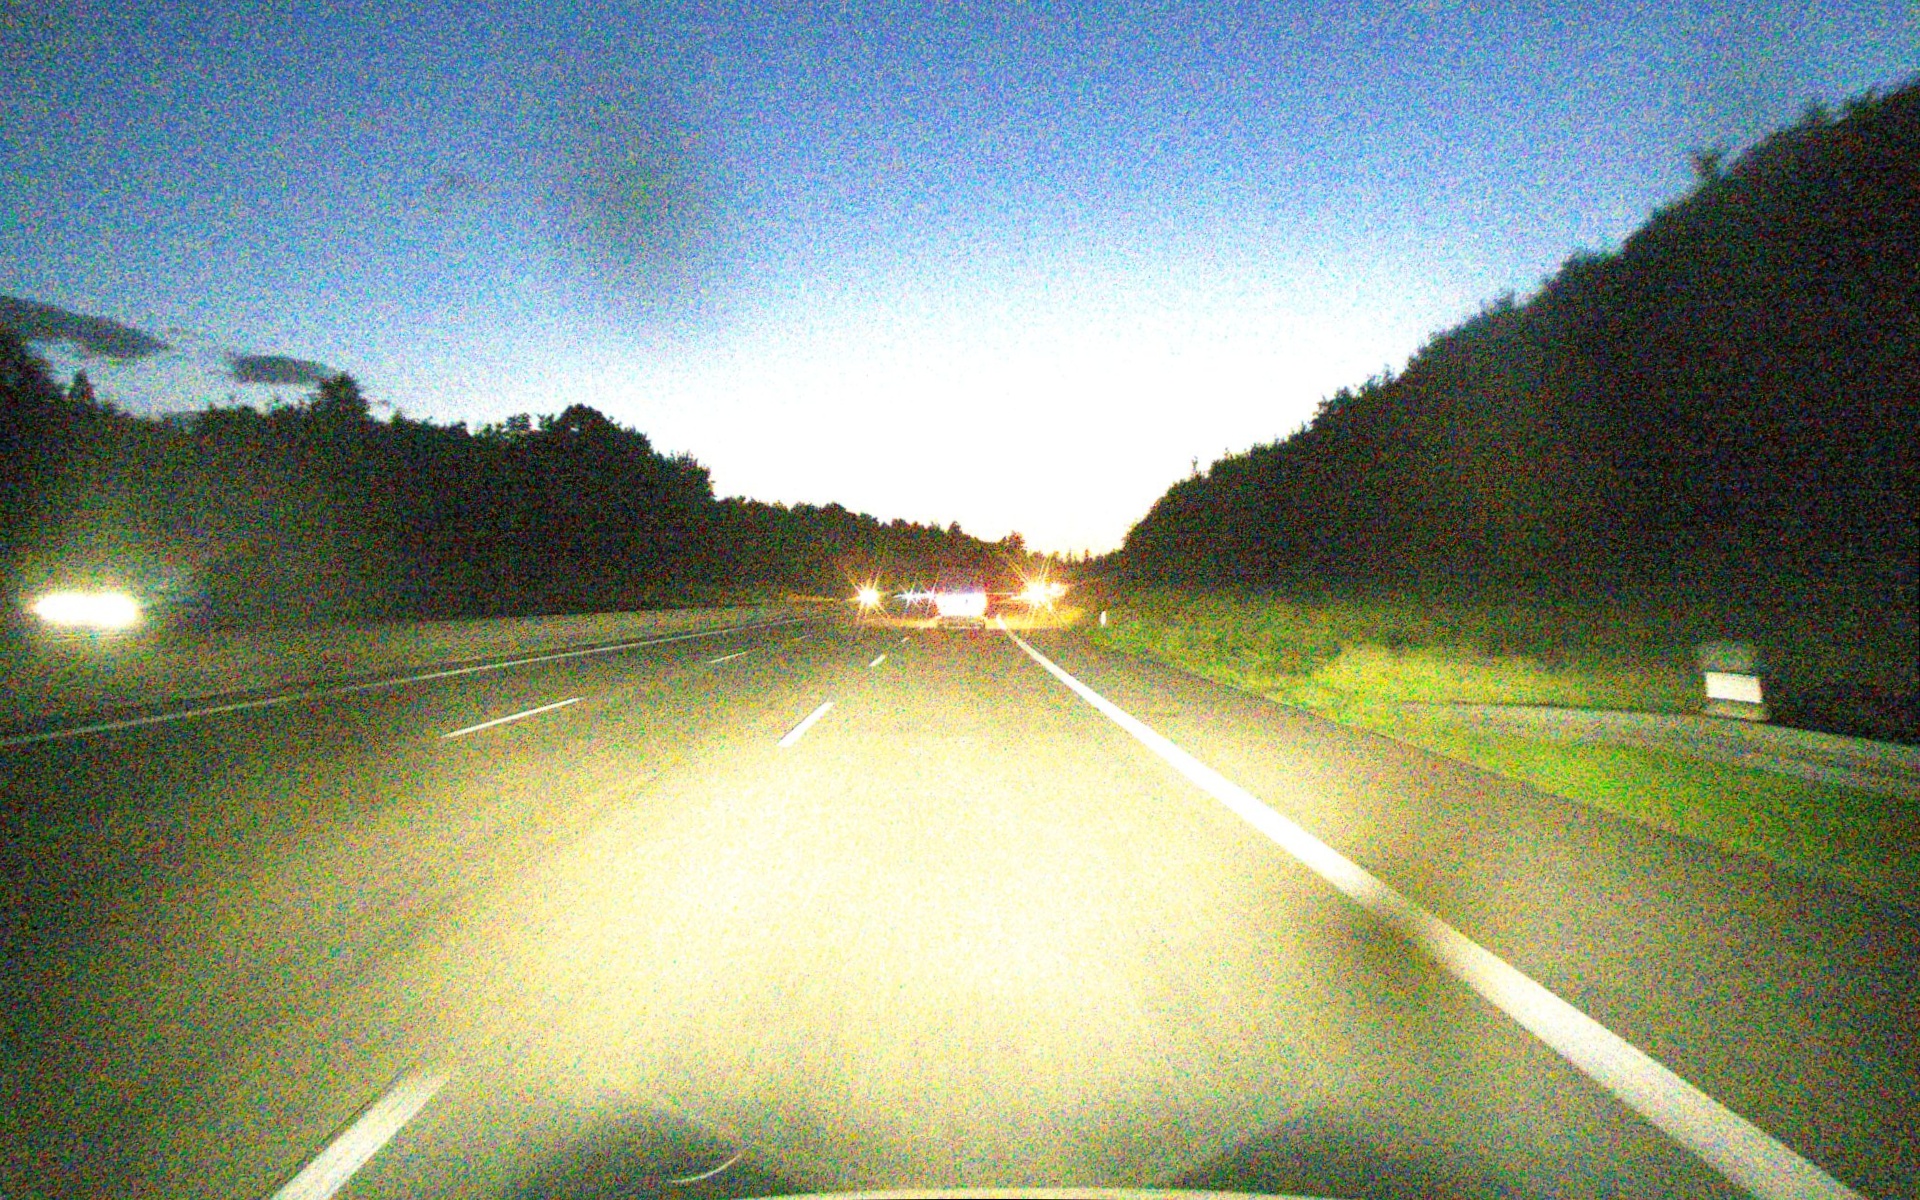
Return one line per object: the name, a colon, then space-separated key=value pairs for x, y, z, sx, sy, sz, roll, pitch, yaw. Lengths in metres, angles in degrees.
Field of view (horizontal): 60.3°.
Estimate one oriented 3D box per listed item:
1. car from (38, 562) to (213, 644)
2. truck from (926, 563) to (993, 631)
car: x=-22.264 y=0.085 z=44.378 sx=1.984 sy=2.049 sz=5.187 roll=1 pitch=0 yaw=0
truck: x=-0.118 y=-0.105 z=70.628 sx=2.577 sy=2.670 sz=8.681 roll=1 pitch=0 yaw=-2
